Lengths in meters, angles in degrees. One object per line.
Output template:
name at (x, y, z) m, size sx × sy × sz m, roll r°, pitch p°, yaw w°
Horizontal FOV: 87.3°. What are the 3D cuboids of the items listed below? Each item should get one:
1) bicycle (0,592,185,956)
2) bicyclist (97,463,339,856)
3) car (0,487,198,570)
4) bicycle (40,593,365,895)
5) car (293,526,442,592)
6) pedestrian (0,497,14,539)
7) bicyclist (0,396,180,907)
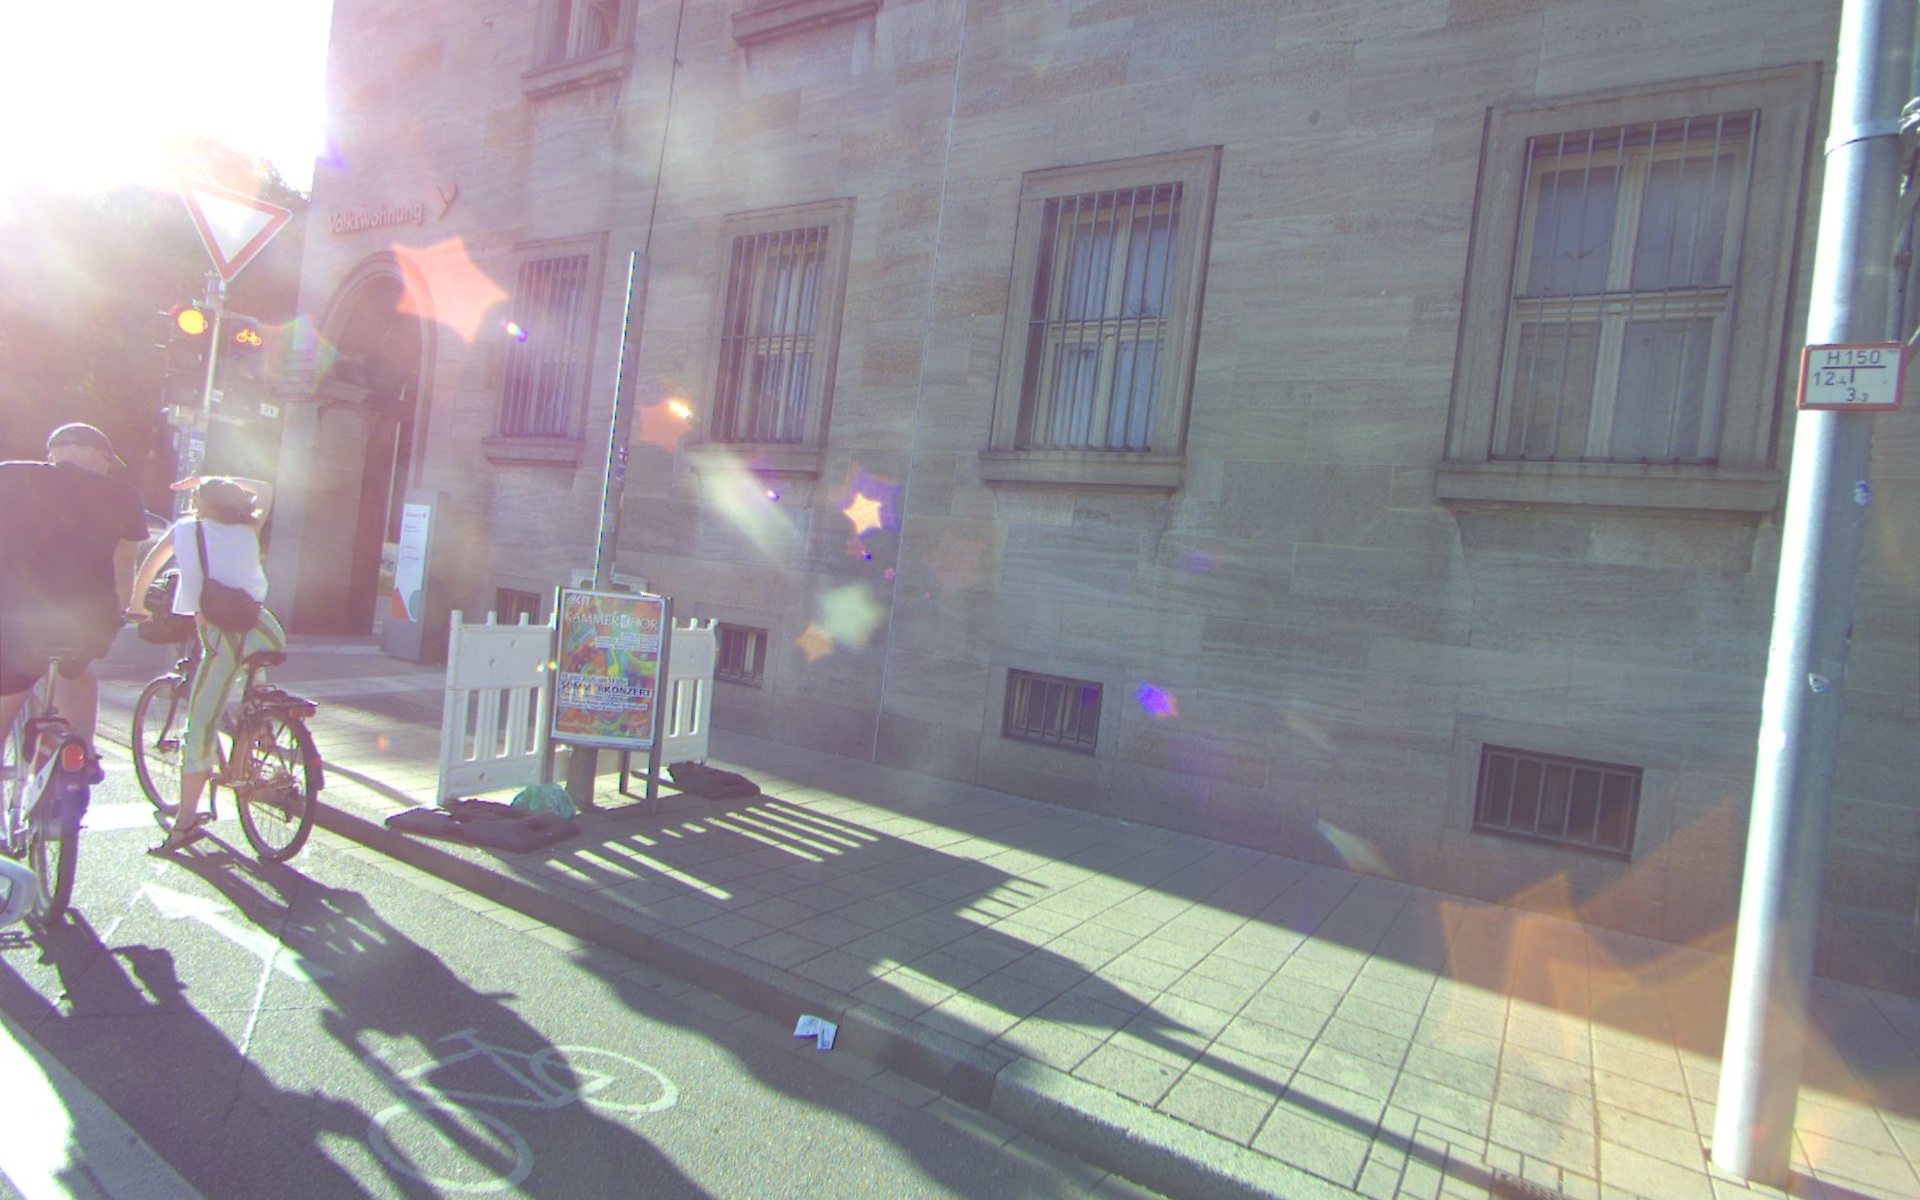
bicycle at (-3.736, 0.572, 3.924) m, size 1.700 × 1.090 × 0.516 m, roll 7°, pitch -1°, yaw 34°
bicyclist at (-3.533, 0.263, 4.803) m, size 0.629 × 1.711 × 0.558 m, roll 7°, pitch -1°, yaw 30°
car at (-23.369, -1.894, 27.196) m, size 1.623 × 1.630 × 3.999 m, roll 7°, pitch -1°, yaw 31°
bicycle at (-3.680, 0.619, 4.841) m, size 1.721 × 1.090 × 0.535 m, roll 7°, pitch -1°, yaw 31°
car at (-19.526, -1.308, 33.300) m, size 1.623 × 1.630 × 3.854 m, roll 7°, pitch -1°, yaw 31°
pedestrian at (-31.468, -2.714, 33.083) m, size 0.339 × 1.331 × 0.317 m, roll 8°, pitch 0°, yaw 34°
bicyclist at (-3.547, 0.191, 3.853) m, size 0.541 × 1.820 × 0.559 m, roll 7°, pitch -1°, yaw 33°
